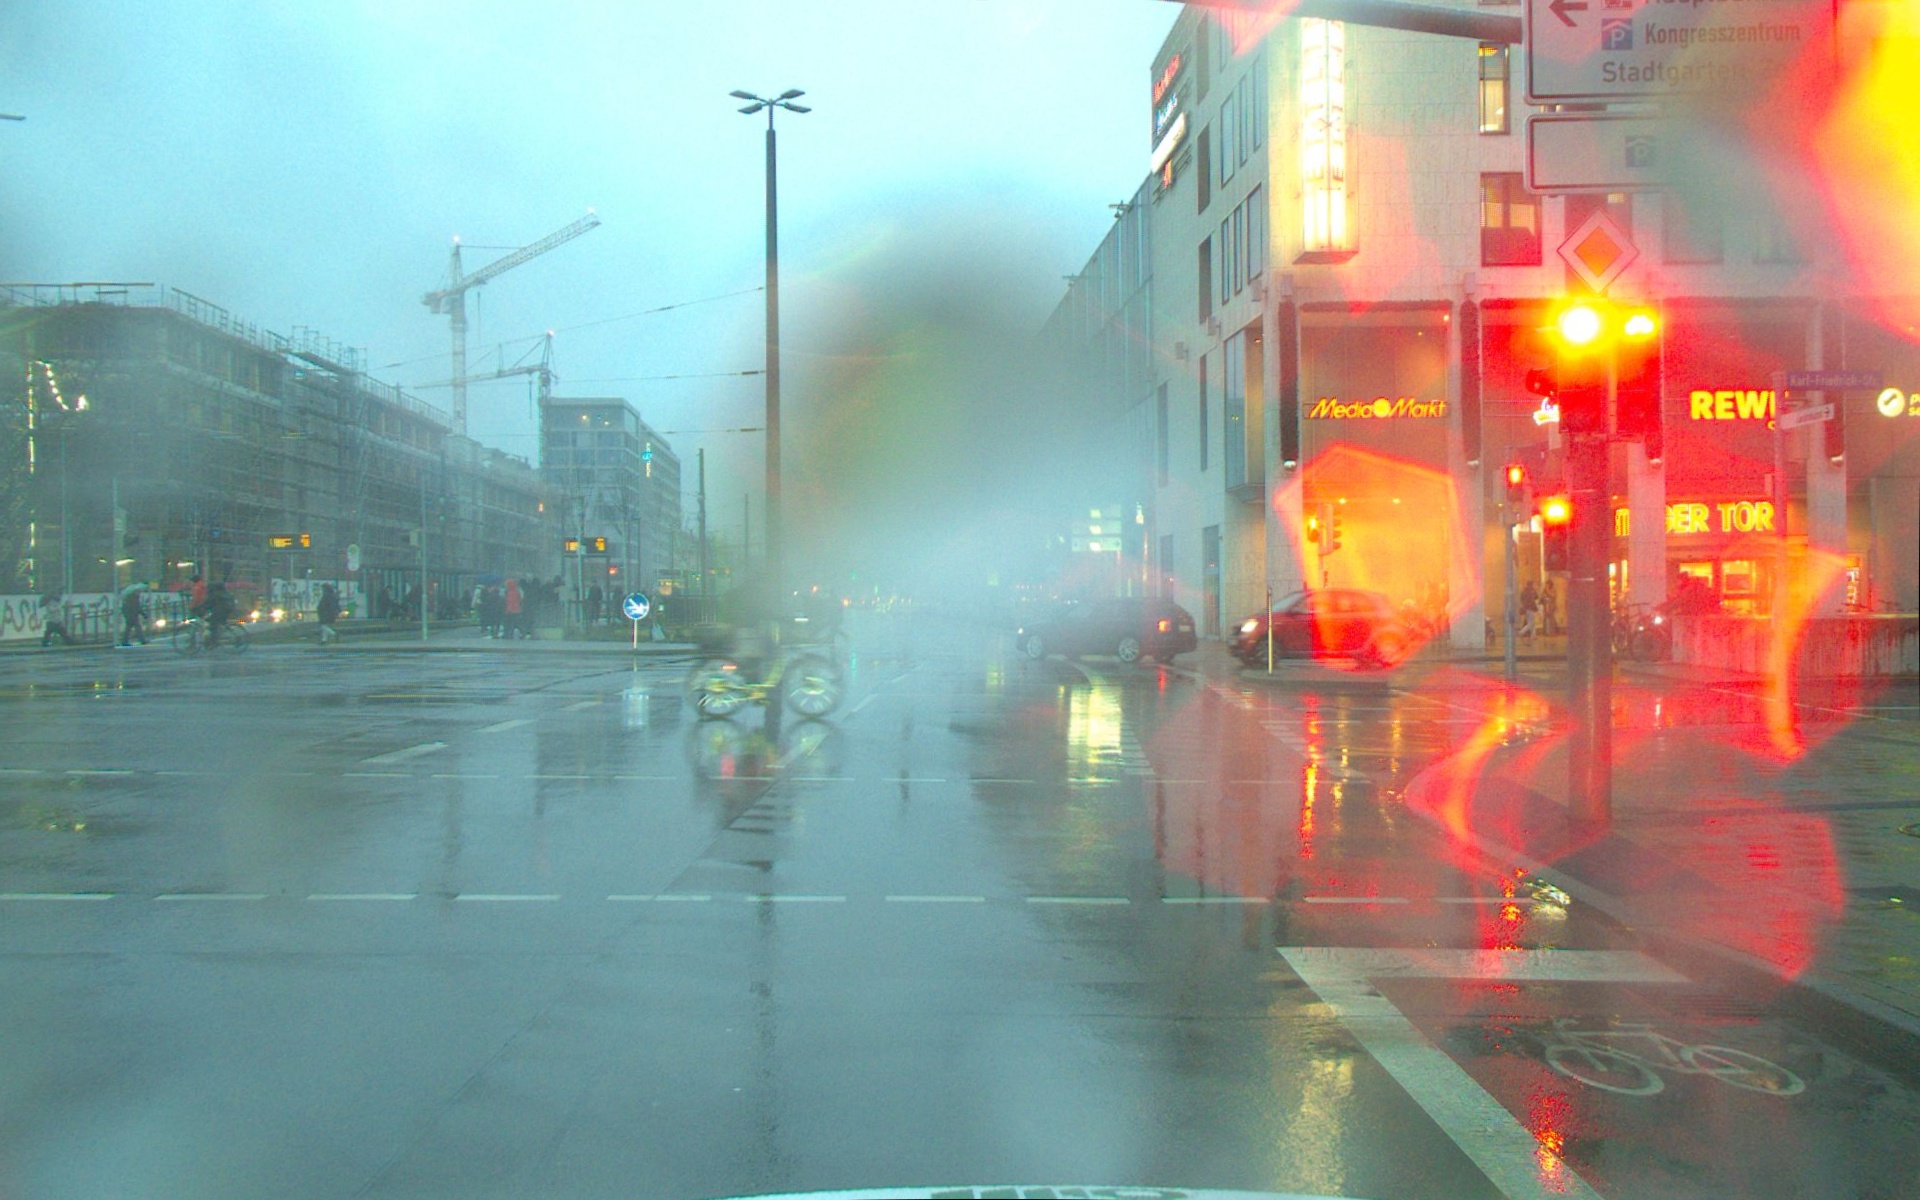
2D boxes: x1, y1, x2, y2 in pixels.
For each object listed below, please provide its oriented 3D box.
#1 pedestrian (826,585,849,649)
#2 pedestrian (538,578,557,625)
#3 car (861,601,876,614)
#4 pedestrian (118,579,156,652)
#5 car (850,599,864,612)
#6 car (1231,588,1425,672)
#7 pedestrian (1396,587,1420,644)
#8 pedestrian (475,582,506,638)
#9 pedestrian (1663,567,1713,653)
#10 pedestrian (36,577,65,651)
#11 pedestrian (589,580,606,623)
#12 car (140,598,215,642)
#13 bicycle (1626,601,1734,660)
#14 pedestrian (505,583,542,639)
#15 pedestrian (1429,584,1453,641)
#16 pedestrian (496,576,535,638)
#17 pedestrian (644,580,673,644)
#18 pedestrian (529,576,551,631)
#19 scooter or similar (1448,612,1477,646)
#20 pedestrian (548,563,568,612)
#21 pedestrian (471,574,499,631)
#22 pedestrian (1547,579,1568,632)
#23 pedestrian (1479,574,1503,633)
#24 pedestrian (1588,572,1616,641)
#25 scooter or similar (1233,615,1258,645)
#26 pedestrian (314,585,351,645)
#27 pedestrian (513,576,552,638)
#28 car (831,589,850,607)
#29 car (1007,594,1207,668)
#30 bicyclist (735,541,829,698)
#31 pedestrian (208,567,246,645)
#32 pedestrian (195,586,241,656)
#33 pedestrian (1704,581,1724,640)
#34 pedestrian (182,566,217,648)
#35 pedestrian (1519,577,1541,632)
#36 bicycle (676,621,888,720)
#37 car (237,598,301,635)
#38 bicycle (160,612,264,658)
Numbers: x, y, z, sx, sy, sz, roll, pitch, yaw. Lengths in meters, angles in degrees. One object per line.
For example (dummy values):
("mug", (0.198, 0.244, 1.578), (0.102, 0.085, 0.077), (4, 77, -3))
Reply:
("pedestrian", (-3.508, 0.484, 47.544), (0.620, 1.803, 0.483), (-1, 0, -2))
("pedestrian", (-15.807, 0.067, 63.321), (0.599, 1.776, 0.620), (-1, 0, -6))
("car", (-12.641, 1.072, 227.999), (1.850, 1.814, 3.713), (1, -1, -1))
("pedestrian", (-23.129, 0.431, 46.494), (0.778, 2.049, 0.745), (-1, 0, -11))
("car", (-14.970, 0.770, 241.023), (1.850, 1.814, 3.713), (1, -1, -1))
("car", (7.430, 0.600, 33.594), (3.498, 1.610, 1.675), (-1, -1, -3))
("pedestrian", (13.641, 0.471, 50.339), (0.526, 1.748, 0.500), (-1, 0, 37))
("pedestrian", (-13.953, 0.289, 49.157), (0.695, 1.647, 0.610), (-1, 0, 38))
("pedestrian", (13.990, 0.186, 31.807), (0.764, 1.623, 0.613), (-1, 0, 14))
("pedestrian", (-25.392, 0.395, 46.184), (0.498, 2.049, 0.638), (-1, 0, -11))
("pedestrian", (-15.179, 0.073, 69.278), (0.648, 1.776, 0.619), (-1, 0, -11))
("car", (-37.808, 0.959, 79.991), (1.954, 2.049, 3.996), (-1, 0, -5))
("bicycle", (13.846, 0.585, 31.855), (1.806, 1.112, 0.618), (-1, 0, 14))
("pedestrian", (-12.972, 0.329, 49.172), (0.798, 1.635, 0.741), (-1, 0, 42))
("pedestrian", (14.656, 0.377, 50.377), (0.526, 1.748, 0.500), (-1, 0, 37))
("pedestrian", (-12.324, 0.191, 45.848), (0.813, 1.709, 0.620), (-1, 0, 15))
("pedestrian", (-8.641, 0.340, 47.461), (0.688, 1.791, 0.652), (-1, 0, -1))
("pedestrian", (-13.599, 0.110, 53.544), (0.607, 1.776, 0.612), (-1, 0, -6))
("scooter or similar", (14.822, 0.853, 48.780), (0.726, 1.011, 0.400), (-1, 0, 0))
("pedestrian", (-14.784, -0.459, 60.840), (0.648, 1.776, 0.734), (-1, 0, -11))
("pedestrian", (-15.008, 0.070, 52.259), (0.607, 1.776, 0.612), (-1, 0, 27))
("pedestrian", (19.857, 0.176, 54.980), (0.526, 1.748, 0.500), (-1, 0, 37))
("pedestrian", (15.666, 0.106, 48.811), (0.526, 1.748, 0.500), (-1, 0, 37))
("pedestrian", (16.313, 0.164, 42.004), (0.526, 1.715, 0.547), (-1, 0, 37))
("scooter or similar", (8.870, 0.935, 51.395), (0.726, 0.932, 0.400), (-1, 0, 0))
("pedestrian", (-17.491, 0.420, 46.112), (0.691, 1.647, 0.681), (-1, 0, 16))
("pedestrian", (-12.014, 0.190, 46.480), (0.825, 1.718, 0.677), (-1, 0, 22))
("car", (-13.955, -0.249, 193.484), (1.953, 2.049, 3.999), (1, -1, -1))
("car", (3.382, 0.694, 38.540), (4.467, 1.601, 1.787), (0, 0, 41))
("bicyclist", (-2.014, 0.210, 18.665), (1.014, 1.726, 0.616), (-1, 0, -8))
("pedestrian", (-19.607, 0.151, 44.242), (0.770, 2.049, 0.604), (0, 0, -39))
("pedestrian", (-16.944, 0.475, 37.795), (0.798, 1.597, 0.536), (-1, 0, -2))
("pedestrian", (22.859, 0.315, 50.151), (0.501, 1.791, 0.374), (-1, 0, 19))
("pedestrian", (-19.933, 0.172, 43.363), (0.682, 2.124, 0.604), (0, 0, -41))
("pedestrian", (18.318, 0.142, 53.177), (0.526, 1.748, 0.500), (-1, 0, 37))
("bicycle", (-1.999, 0.783, 18.657), (2.328, 1.051, 0.616), (-1, 0, -8))
("car", (-39.301, 0.903, 94.156), (1.953, 2.049, 3.999), (-1, 0, -1))
("bicycle", (-17.089, 0.804, 37.828), (2.085, 1.009, 0.541), (0, -4, -2))
